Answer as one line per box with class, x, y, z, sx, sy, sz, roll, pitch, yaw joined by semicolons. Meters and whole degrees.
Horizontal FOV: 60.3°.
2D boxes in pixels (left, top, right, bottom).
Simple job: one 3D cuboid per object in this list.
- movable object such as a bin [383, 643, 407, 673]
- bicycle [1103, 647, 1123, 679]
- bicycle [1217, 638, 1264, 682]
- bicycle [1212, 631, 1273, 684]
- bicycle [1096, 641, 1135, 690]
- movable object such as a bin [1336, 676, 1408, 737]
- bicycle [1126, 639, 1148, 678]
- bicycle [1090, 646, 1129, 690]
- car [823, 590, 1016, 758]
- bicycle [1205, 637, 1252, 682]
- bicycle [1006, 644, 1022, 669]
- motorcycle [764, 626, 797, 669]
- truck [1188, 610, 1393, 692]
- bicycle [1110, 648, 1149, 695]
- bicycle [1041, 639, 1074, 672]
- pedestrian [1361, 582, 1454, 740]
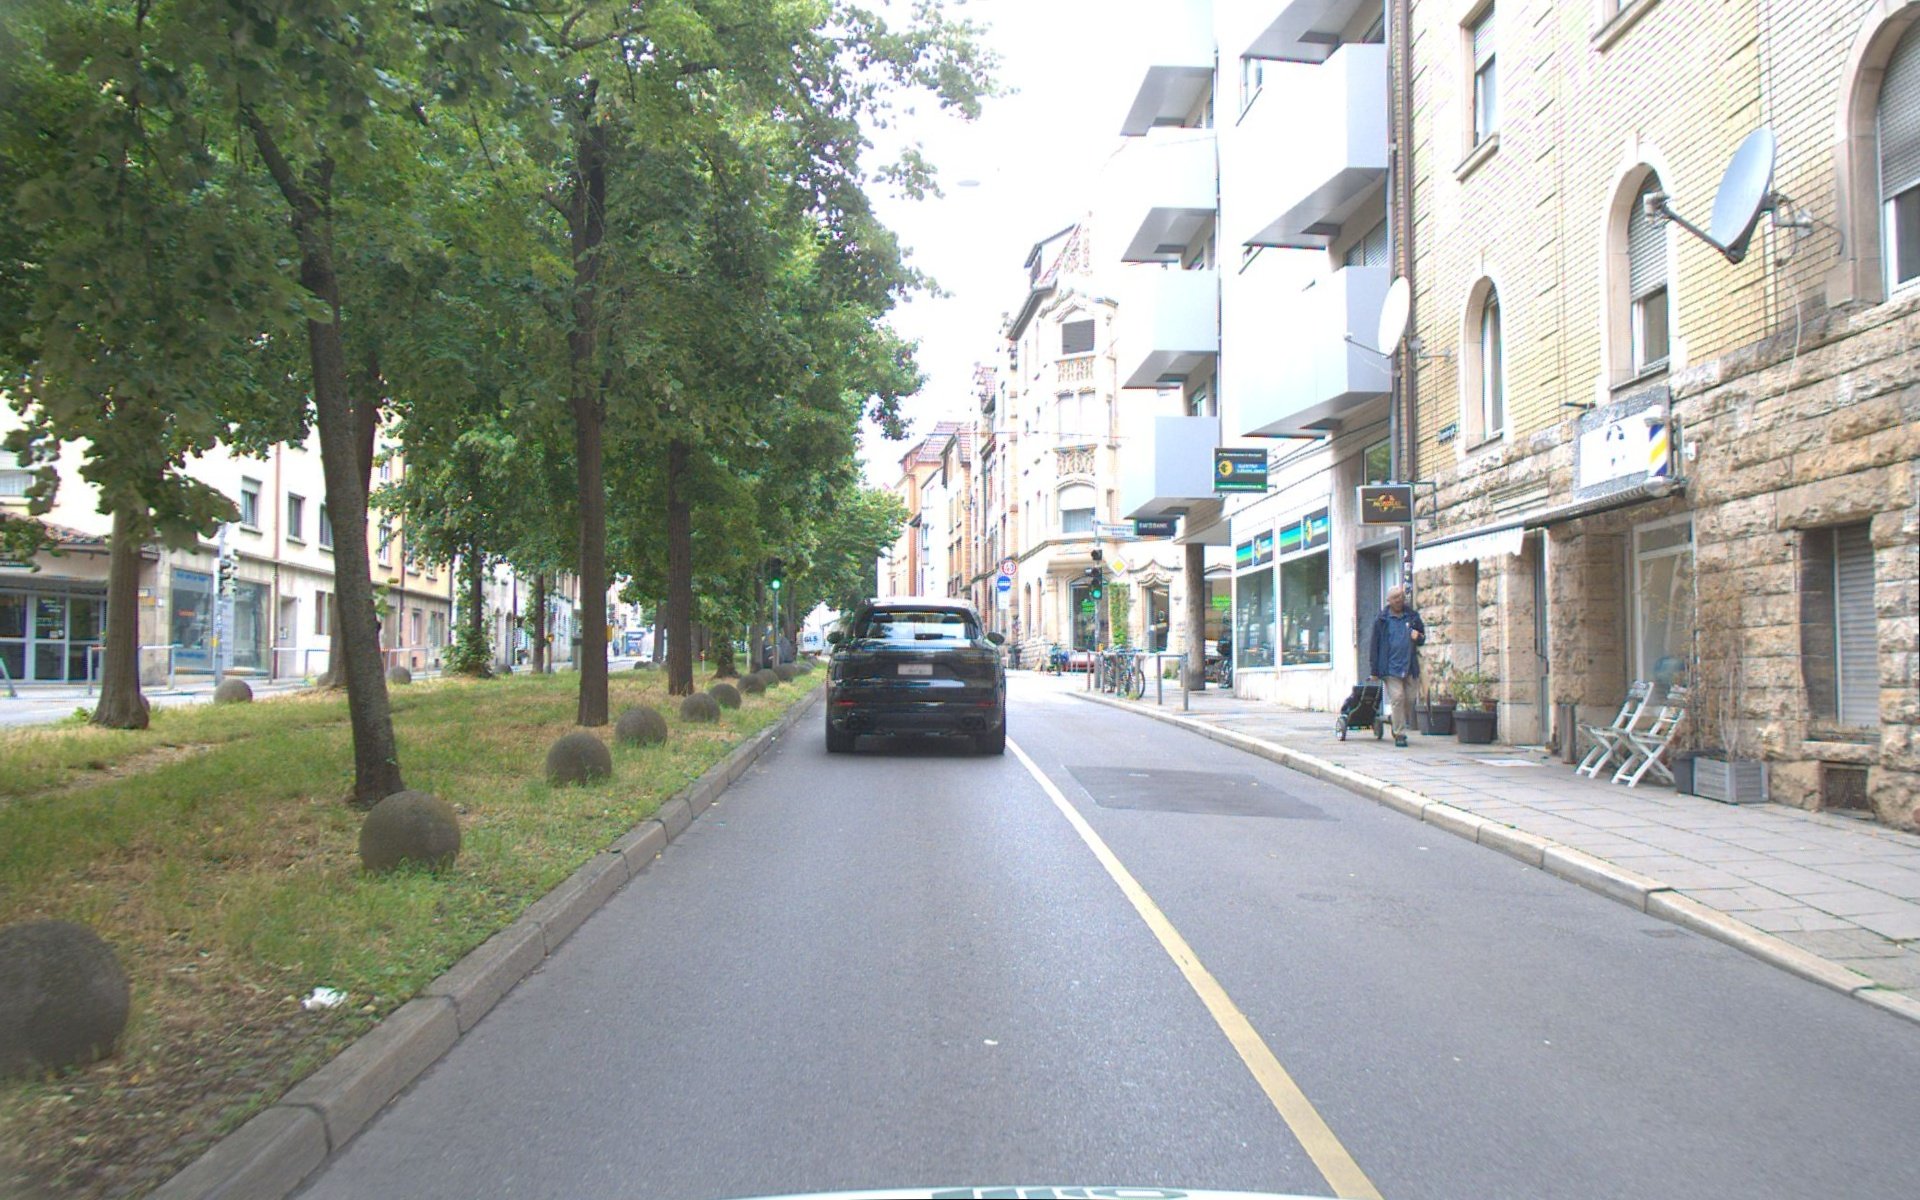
movable object such as a bin;-20.596;2.122;60.299;0.678;1.078;0.689;1;-3;-8
bicycle;5.310;2.181;57.462;0.342;1.077;1.832;3;-1;-4
bicycle;6.845;1.466;40.435;0.313;1.061;1.750;1;-2;-20
bicycle;6.657;1.356;39.028;0.315;1.220;1.740;2;-3;-34
bicycle;3.483;1.456;37.077;0.281;1.073;1.753;1;-2;-15
movable object such as a bin;4.858;1.252;19.553;0.595;0.680;0.858;-2;-2;-1
bicycle;6.097;2.016;57.166;0.438;1.182;1.833;-1;3;-4
bicycle;3.318;1.506;36.750;0.281;0.948;1.753;1;-2;-15
car;-0.478;0.772;18.911;1.953;1.695;3.998;1;-1;-2
bicycle;6.544;1.447;40.322;0.313;1.061;1.750;1;-2;-20
bicycle;2.285;2.401;70.250;0.438;1.055;2.246;0;-3;-4
motorcycle;-6.443;1.720;59.551;0.999;1.472;2.245;-1;-2;-3
truck;9.773;1.505;49.089;5.463;2.170;2.374;3;-2;-13
bicycle;3.493;1.472;34.197;0.557;0.948;1.773;1;-2;-2
bicycle;3.467;1.994;59.120;0.861;1.149;2.977;1;-2;-3
pedestrian;5.047;0.689;18.714;0.736;1.722;0.858;-2;-2;-1
